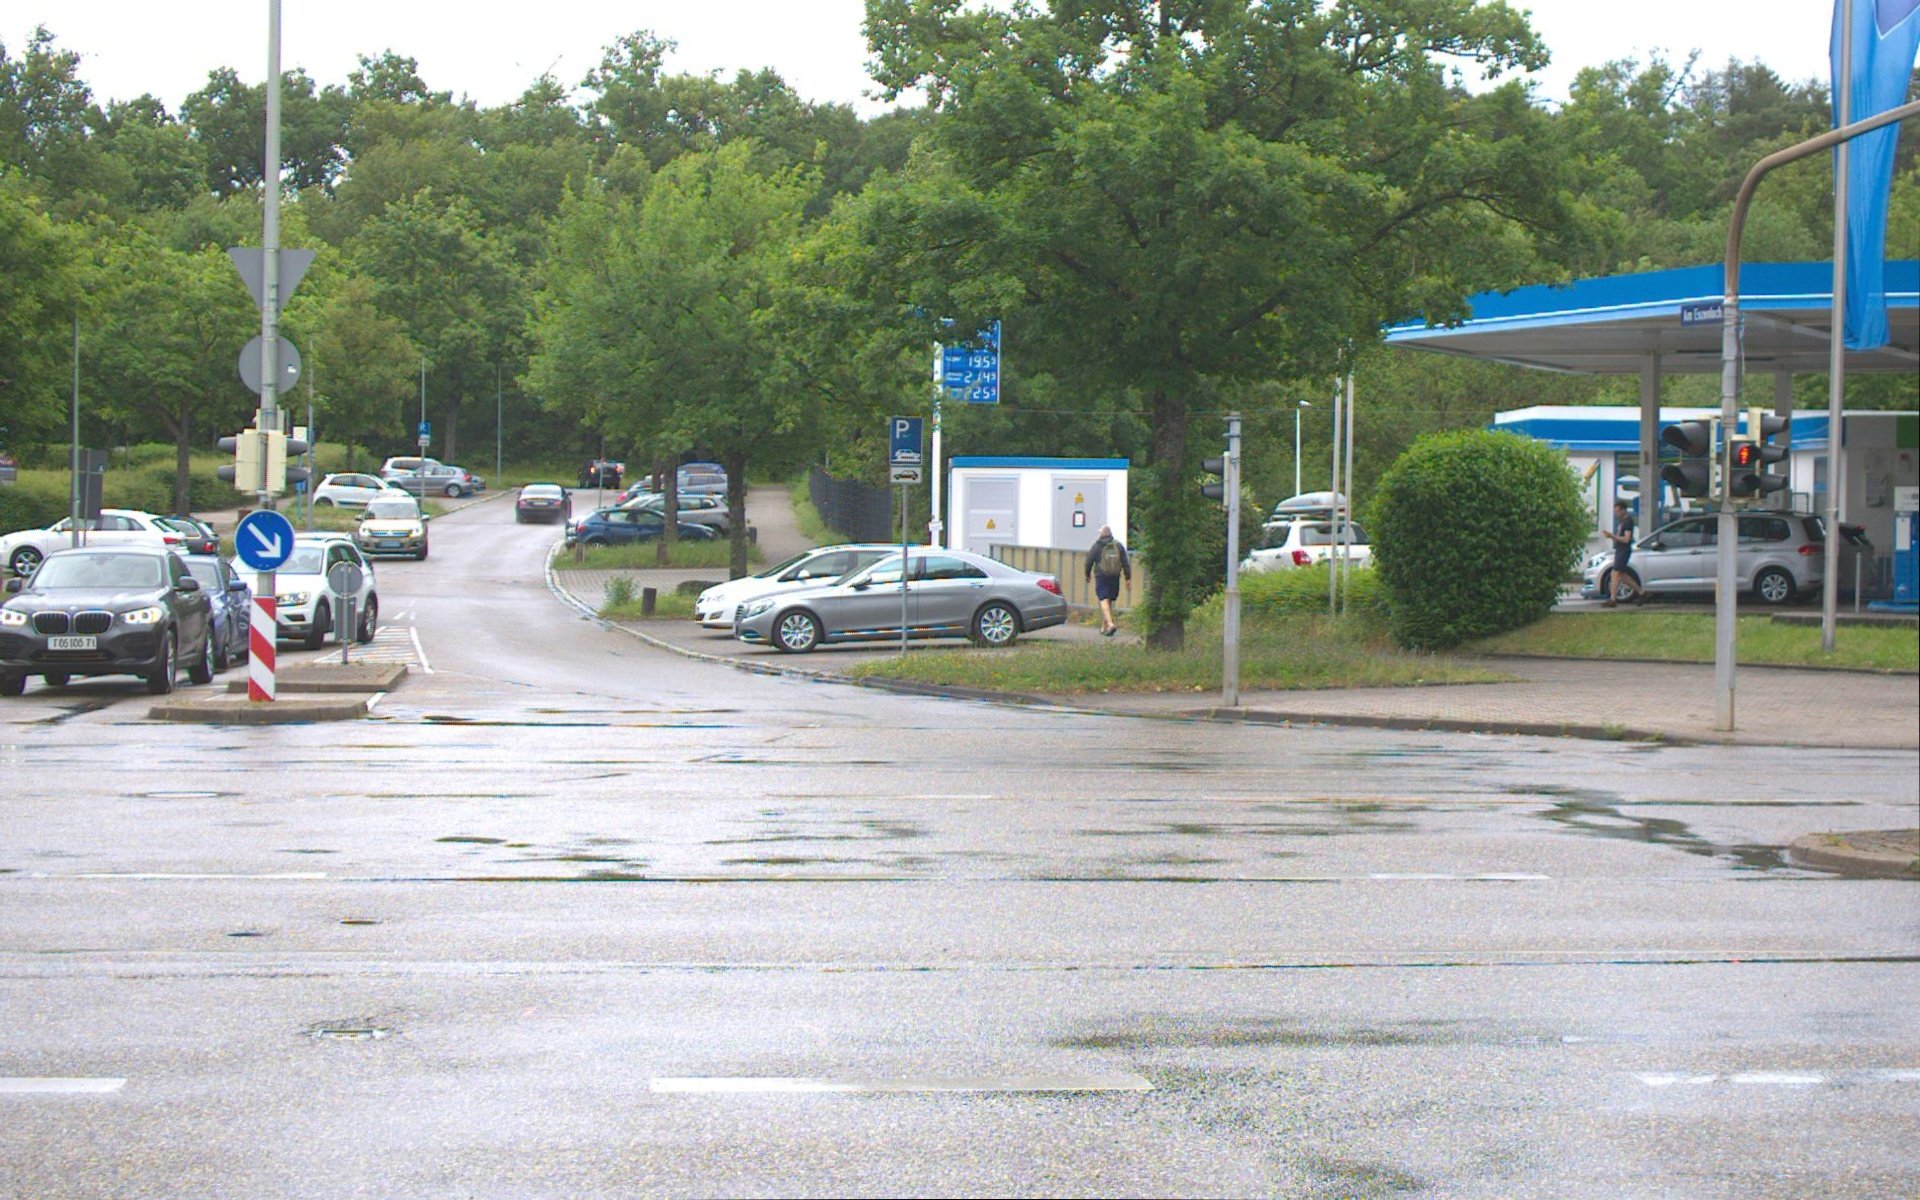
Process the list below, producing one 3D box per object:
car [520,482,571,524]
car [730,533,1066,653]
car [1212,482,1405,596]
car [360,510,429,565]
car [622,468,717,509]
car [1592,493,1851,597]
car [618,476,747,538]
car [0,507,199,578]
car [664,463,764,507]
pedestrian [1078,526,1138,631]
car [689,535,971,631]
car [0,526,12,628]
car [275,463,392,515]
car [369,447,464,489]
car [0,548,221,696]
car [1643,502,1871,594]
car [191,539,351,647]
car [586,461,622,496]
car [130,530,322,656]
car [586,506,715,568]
[{"bbox_3d":[-15.081,-3.528,125.210,1.807,1.477,3.752,0,1,-6],"label":"car"},{"bbox_3d":[-0.983,-0.119,52.747,4.885,1.543,2.000,-3,1,-8],"label":"car"},{"bbox_3d":[5.703,-0.994,56.734,1.808,1.791,3.701,1,0,-18],"label":"car"},{"bbox_3d":[-15.405,-1.689,93.776,1.697,1.451,3.674,0,0,-7],"label":"car"},{"bbox_3d":[-12.506,-4.785,147.876,3.986,1.733,1.811,0,0,-7],"label":"car"},{"bbox_3d":[13.607,-0.979,61.489,4.121,1.801,1.943,1,0,30],"label":"car"},{"bbox_3d":[-8.124,-2.713,100.612,3.697,1.744,1.697,1,0,-6],"label":"car"},{"bbox_3d":[-19.833,-1.315,79.228,4.271,1.604,1.685,0,0,-4],"label":"car"},{"bbox_3d":[-10.054,-4.702,140.481,3.986,1.733,1.811,0,0,-7],"label":"car"},{"bbox_3d":[2.351,-0.341,54.773,0.808,1.656,0.887,0,0,-8],"label":"pedestrian"},{"bbox_3d":[-2.221,-0.285,58.026,4.571,1.583,1.930,0,1,-8],"label":"car"},{"bbox_3d":[-18.003,-0.392,58.069,3.648,1.718,1.685,0,0,-8],"label":"car"},{"bbox_3d":[-22.215,-3.945,121.944,3.986,1.788,1.857,0,0,-8],"label":"car"},{"bbox_3d":[-24.083,-5.858,152.526,3.986,1.788,1.856,0,0,-3],"label":"car"},{"bbox_3d":[-9.509,0.210,38.295,1.895,1.548,4.593,0,1,-4],"label":"car"},{"bbox_3d":[15.426,-0.992,66.523,3.992,1.722,1.792,0,0,26],"label":"car"},{"bbox_3d":[-10.345,-0.136,51.839,1.895,1.548,4.001,0,1,-4],"label":"car"},{"bbox_3d":[-18.606,-6.358,179.705,1.804,1.733,4.001,0,1,-6],"label":"car"},{"bbox_3d":[-9.930,-0.103,46.806,1.796,1.627,4.552,0,0,-2],"label":"car"},{"bbox_3d":[-8.455,-1.709,93.834,3.459,1.649,1.616,1,0,-6],"label":"car"}]
